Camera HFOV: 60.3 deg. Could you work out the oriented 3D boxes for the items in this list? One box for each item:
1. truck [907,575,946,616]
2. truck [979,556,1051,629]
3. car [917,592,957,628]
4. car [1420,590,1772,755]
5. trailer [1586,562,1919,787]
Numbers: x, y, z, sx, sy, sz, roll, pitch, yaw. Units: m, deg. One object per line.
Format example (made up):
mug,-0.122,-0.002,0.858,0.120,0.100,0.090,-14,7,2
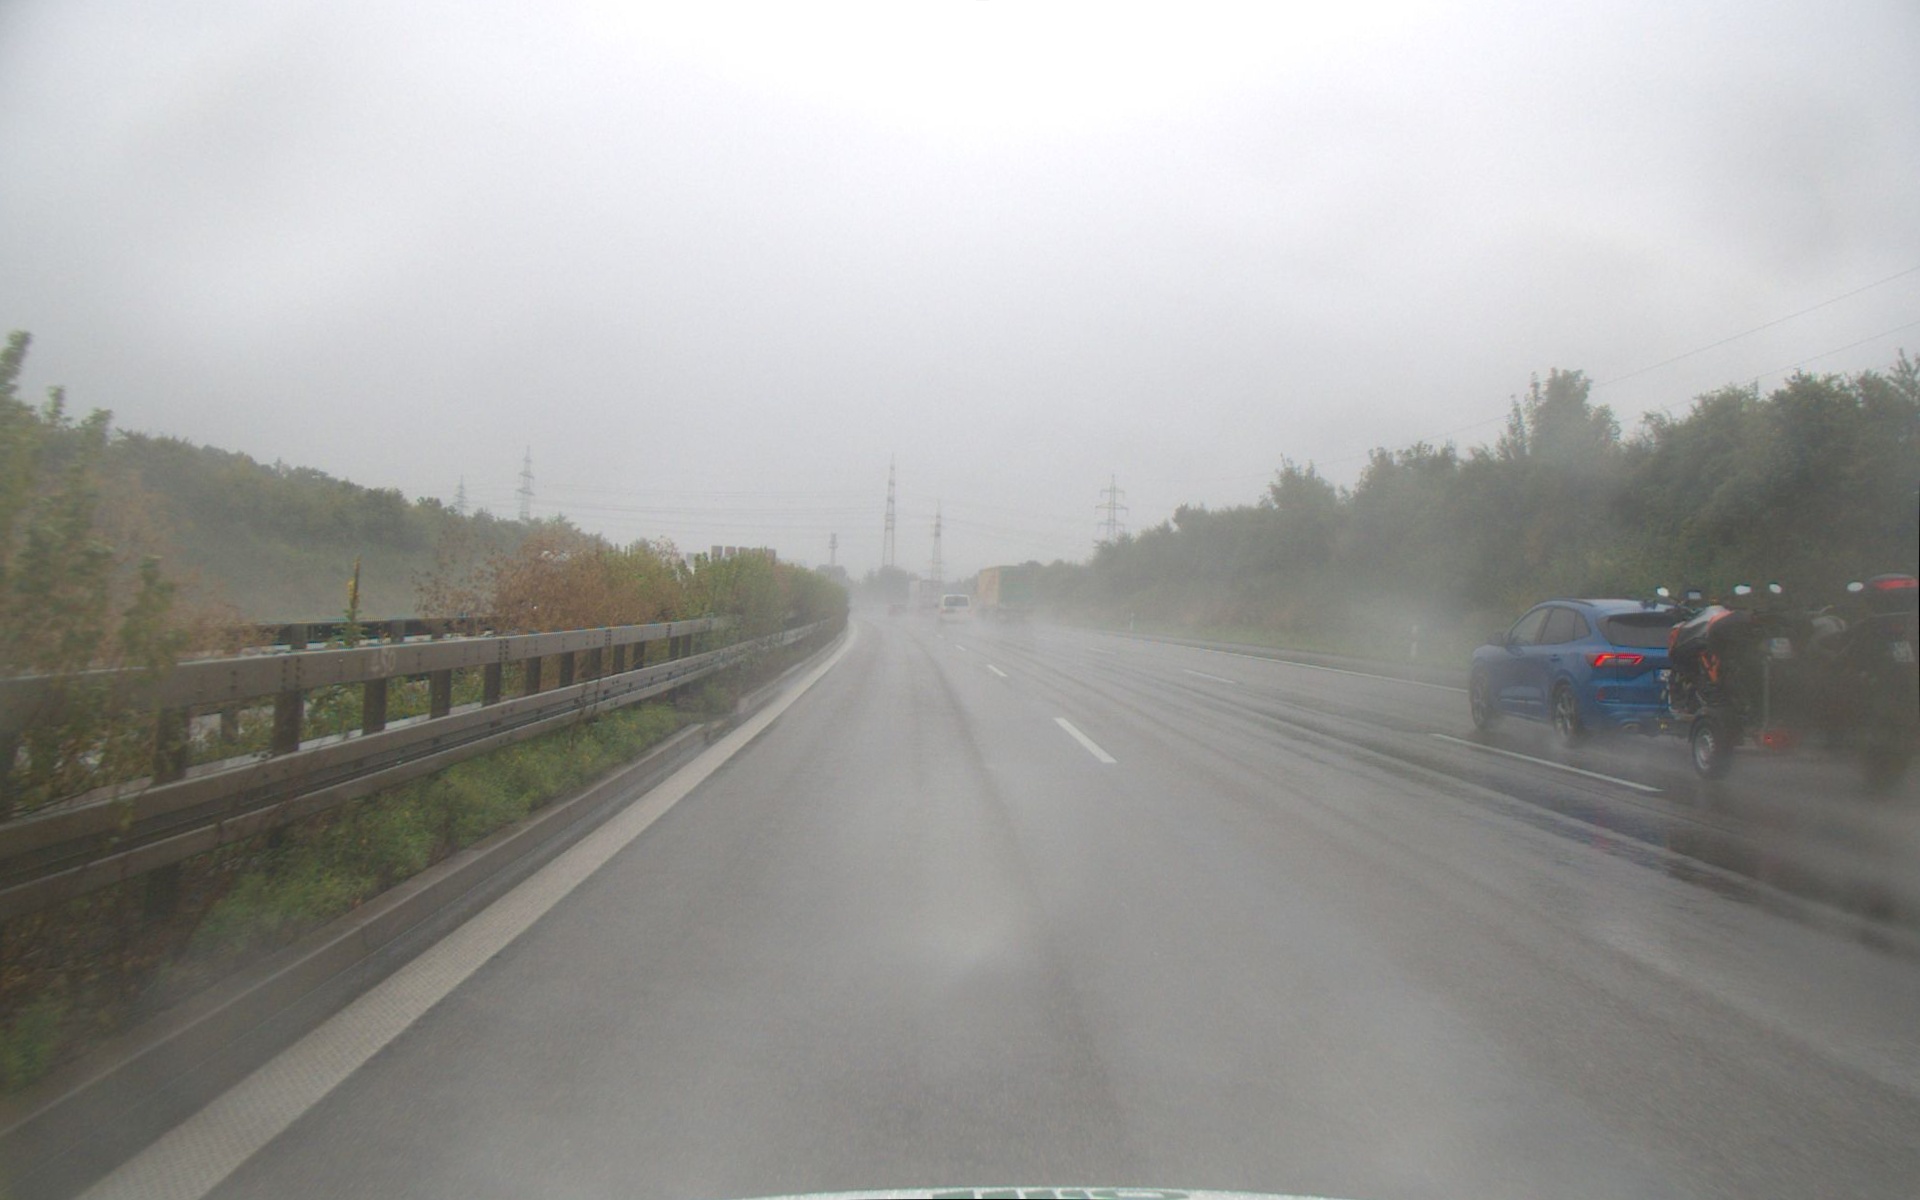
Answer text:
truck,-3.845,-0.505,186.482,3.173,4.387,8.816,1,0,-10
truck,3.695,-0.423,116.155,4.104,4.711,16.099,1,-1,-2
car,-1.361,0.590,96.785,1.955,2.049,3.995,1,0,-6
car,7.124,0.763,19.206,1.954,1.647,4.989,1,-1,-3
trailer,7.321,0.628,15.072,1.939,1.816,3.187,1,-1,-2
